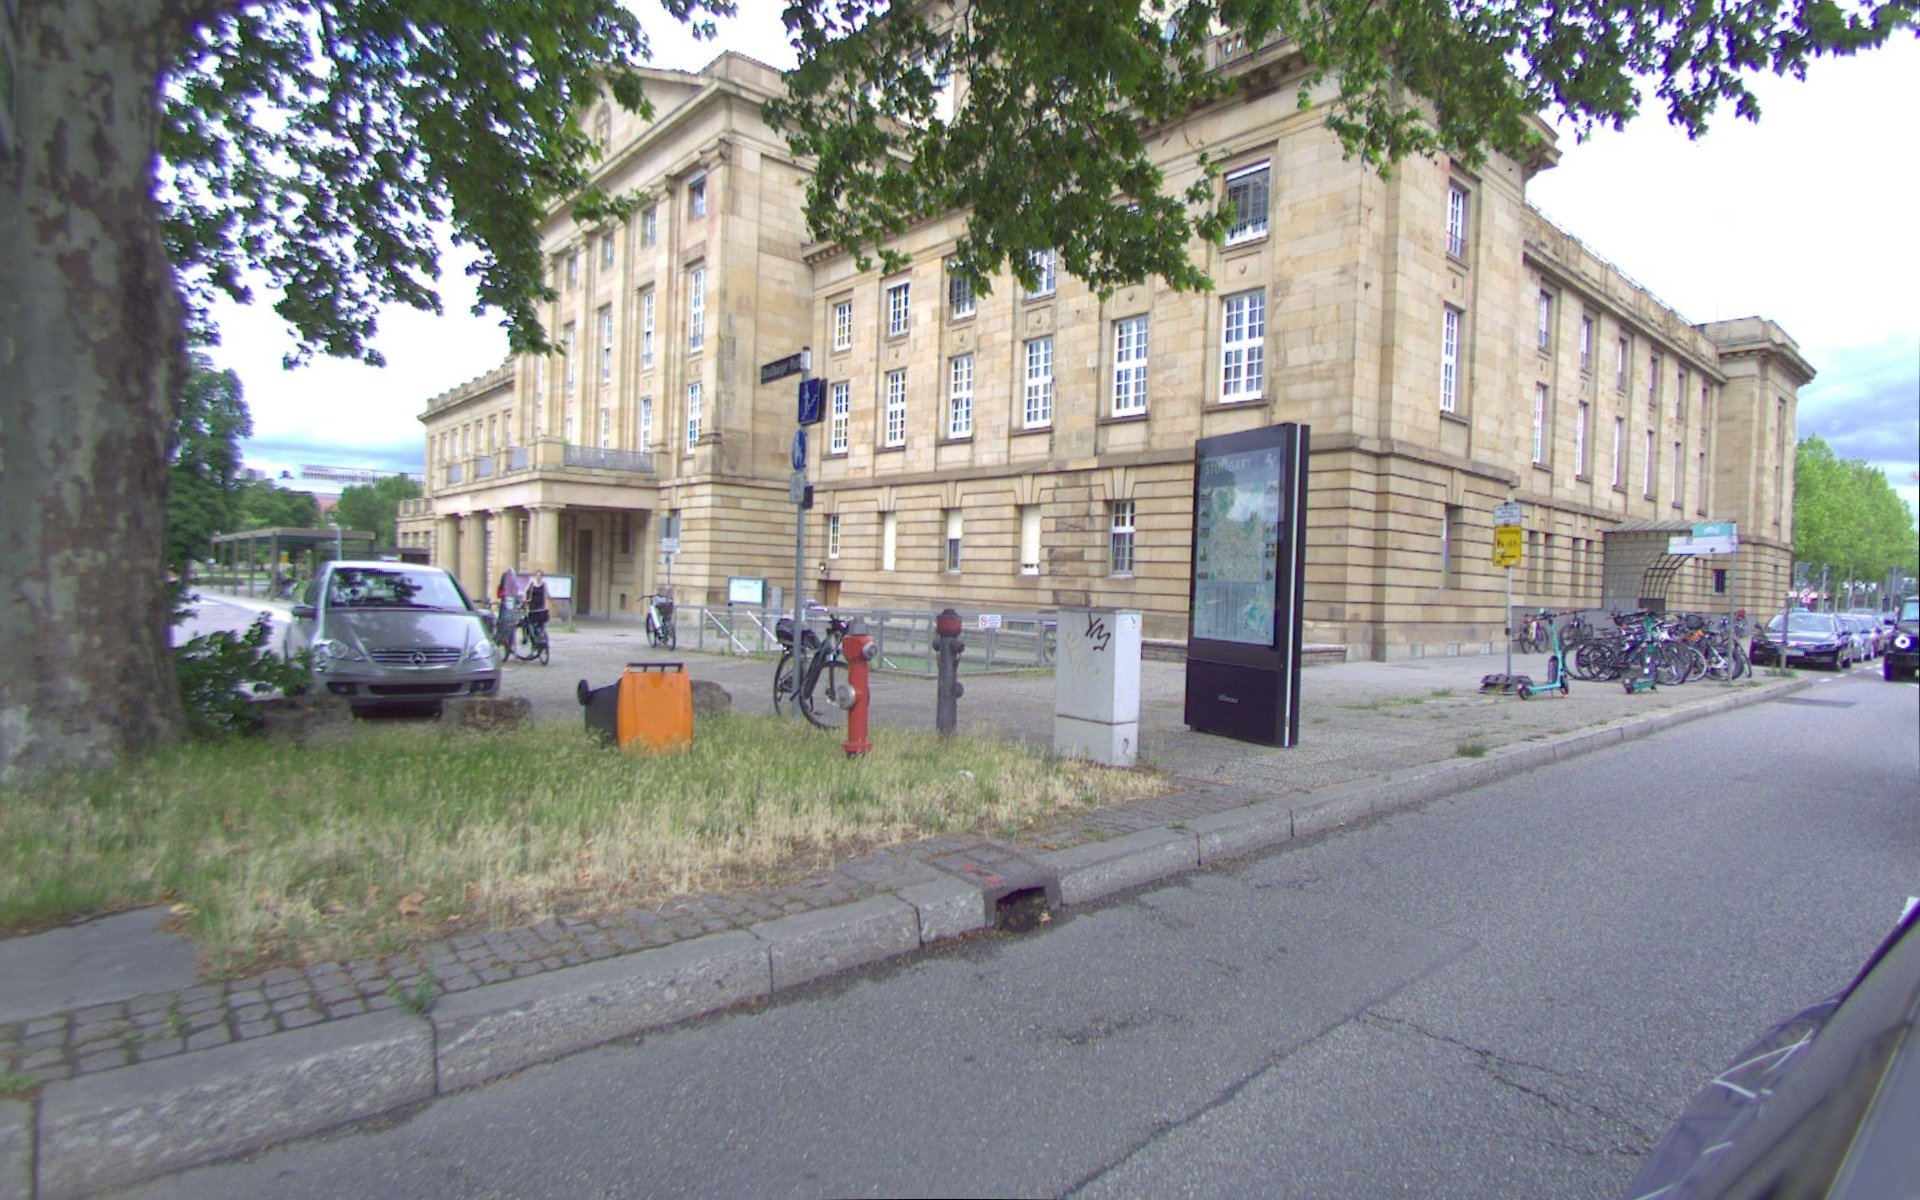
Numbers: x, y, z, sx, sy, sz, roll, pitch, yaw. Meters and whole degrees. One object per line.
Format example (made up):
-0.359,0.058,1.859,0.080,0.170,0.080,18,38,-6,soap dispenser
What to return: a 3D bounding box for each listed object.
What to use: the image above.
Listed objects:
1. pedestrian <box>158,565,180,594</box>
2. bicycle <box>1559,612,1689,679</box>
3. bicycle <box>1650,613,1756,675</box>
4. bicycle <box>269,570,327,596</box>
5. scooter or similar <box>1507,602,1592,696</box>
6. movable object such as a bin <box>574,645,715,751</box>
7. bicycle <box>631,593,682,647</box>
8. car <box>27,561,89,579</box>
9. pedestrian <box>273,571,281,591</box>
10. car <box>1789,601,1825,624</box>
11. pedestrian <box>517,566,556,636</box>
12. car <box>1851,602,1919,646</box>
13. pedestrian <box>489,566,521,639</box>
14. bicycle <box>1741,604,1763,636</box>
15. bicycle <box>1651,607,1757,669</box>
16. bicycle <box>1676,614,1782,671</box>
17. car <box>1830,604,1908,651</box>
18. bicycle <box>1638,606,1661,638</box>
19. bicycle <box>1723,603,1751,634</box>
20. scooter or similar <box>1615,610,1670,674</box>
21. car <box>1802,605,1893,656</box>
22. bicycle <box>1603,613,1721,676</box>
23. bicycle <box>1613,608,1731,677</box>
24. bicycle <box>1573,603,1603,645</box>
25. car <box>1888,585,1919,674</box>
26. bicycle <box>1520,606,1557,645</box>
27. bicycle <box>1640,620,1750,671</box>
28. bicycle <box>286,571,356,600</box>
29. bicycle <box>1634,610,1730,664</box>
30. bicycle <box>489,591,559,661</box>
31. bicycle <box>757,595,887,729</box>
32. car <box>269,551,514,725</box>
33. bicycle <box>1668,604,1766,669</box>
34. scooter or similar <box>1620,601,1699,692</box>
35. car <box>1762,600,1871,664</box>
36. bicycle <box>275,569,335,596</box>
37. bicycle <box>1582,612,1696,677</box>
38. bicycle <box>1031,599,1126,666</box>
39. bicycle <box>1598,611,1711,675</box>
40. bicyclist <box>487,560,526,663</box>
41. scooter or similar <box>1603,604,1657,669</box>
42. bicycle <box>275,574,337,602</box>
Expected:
-49.904,-1.296,63.880,0.539,1.828,0.940,-1,-1,22,pedestrian
11.839,0.791,18.107,0.652,1.105,1.866,1,0,-28,bicycle
14.468,0.843,19.750,1.596,1.144,0.466,1,-1,24,bicycle
-35.088,-0.895,53.658,2.534,1.362,0.726,0,-1,-41,bicycle
8.517,0.682,14.610,1.405,1.297,0.433,0,0,-30,scooter or similar
-2.418,0.705,7.675,0.715,0.660,1.304,-1,0,-32,movable object such as a bin
-6.672,0.411,22.194,0.418,1.114,2.172,1,0,-35,bicycle
-95.524,-3.140,107.258,4.823,1.761,2.076,0,0,-38,car
-64.247,-1.775,95.228,0.534,1.828,0.653,0,-1,-24,pedestrian
58.333,0.827,69.673,3.445,1.549,1.581,0,0,-44,car
-10.818,0.019,25.834,0.693,1.744,0.680,1,0,-43,pedestrian
35.852,0.907,39.143,3.642,1.571,1.549,1,2,-40,car
-10.982,0.056,24.430,0.559,1.716,0.430,1,0,-43,pedestrian
33.619,0.829,42.941,1.759,1.304,0.413,1,1,-42,bicycle
14.386,0.727,19.599,1.596,1.144,0.405,1,-1,24,bicycle
15.849,0.857,20.899,0.573,1.088,1.671,1,0,-22,bicycle
31.918,0.931,35.516,3.792,1.473,1.618,0,2,-42,car
23.057,0.743,33.846,1.827,1.042,0.222,1,-1,-42,bicycle
32.353,0.771,42.117,1.883,1.232,0.556,1,1,-42,bicycle
13.784,0.824,20.427,1.286,1.239,0.427,0,-1,-31,scooter or similar
28.032,0.913,31.928,3.929,1.443,1.711,0,2,-43,car
13.121,0.810,18.966,0.563,1.105,1.735,1,0,-32,bicycle
13.495,0.783,19.220,0.594,1.224,1.759,1,-1,-44,bicycle
18.419,0.684,29.669,1.510,1.198,0.276,0,0,-40,bicycle
23.101,0.690,23.404,4.322,1.950,1.951,1,1,-42,car
15.391,0.661,26.893,1.929,1.010,0.240,0,1,-42,bicycle
14.953,0.905,20.640,0.601,0.928,1.737,1,1,-22,bicycle
-32.124,-0.709,50.880,0.959,1.444,2.852,-1,-1,45,bicycle
14.751,0.739,20.705,0.427,1.041,1.570,1,0,-30,bicycle
-7.766,0.433,17.986,1.748,1.146,0.437,2,1,42,bicycle
-1.473,0.591,10.529,0.483,1.236,1.790,1,1,-38,bicycle
-6.426,0.306,11.245,1.649,1.588,3.843,1,1,-40,car
15.472,0.725,20.731,0.532,1.273,1.550,1,0,-22,bicycle
10.934,0.687,15.803,1.389,1.348,0.726,0,0,-42,scooter or similar
22.849,0.776,26.946,4.254,1.504,1.790,0,2,-44,car
-33.906,-0.904,52.400,2.534,1.362,0.726,0,-1,-41,bicycle
12.339,0.779,18.437,0.417,1.105,1.736,1,0,-28,bicycle
2.190,0.580,18.922,0.382,1.139,2.014,1,1,-41,bicycle
12.796,0.764,18.699,0.373,1.105,1.736,1,0,-28,bicycle
-7.987,0.197,17.823,0.436,1.770,0.468,2,0,41,bicyclist
13.737,0.735,20.737,1.126,1.295,0.564,1,-1,-36,scooter or similar
-33.034,-0.610,51.138,2.534,1.362,0.726,0,-1,-41,bicycle
